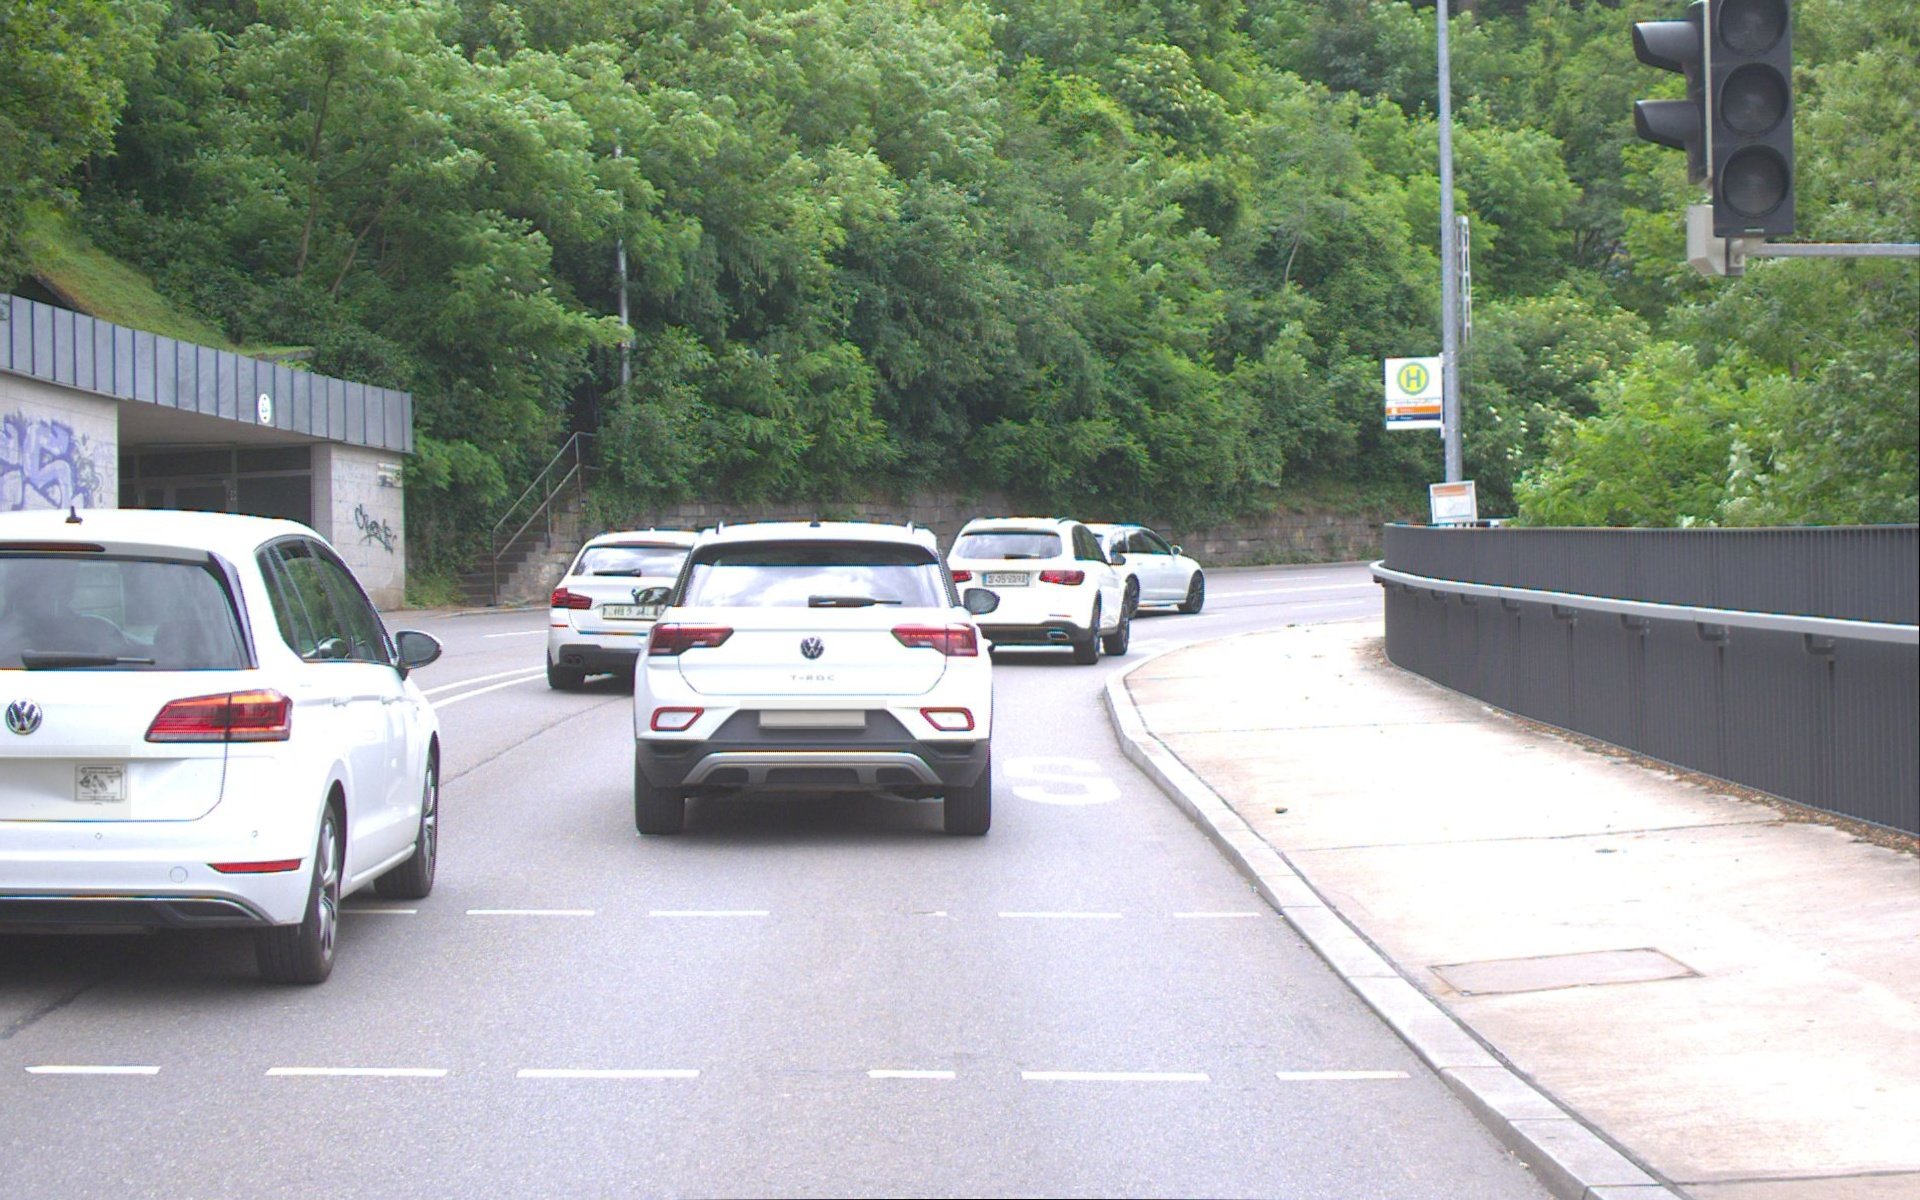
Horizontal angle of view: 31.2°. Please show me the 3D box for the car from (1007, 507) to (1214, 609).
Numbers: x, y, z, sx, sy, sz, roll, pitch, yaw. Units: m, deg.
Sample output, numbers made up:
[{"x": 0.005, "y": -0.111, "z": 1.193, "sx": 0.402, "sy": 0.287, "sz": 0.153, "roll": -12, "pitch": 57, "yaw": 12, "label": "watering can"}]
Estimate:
[{"x": 2.432, "y": -0.646, "z": 54.484, "sx": 1.743, "sy": 1.514, "sz": 4.303, "roll": 2, "pitch": 1, "yaw": 25, "label": "car"}]

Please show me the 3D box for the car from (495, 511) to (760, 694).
[{"x": -3.031, "y": -0.029, "z": 32.254, "sx": 1.993, "sy": 1.552, "sz": 4.681, "roll": 1, "pitch": 1, "yaw": 0, "label": "car"}]

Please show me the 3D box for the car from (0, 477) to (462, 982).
[{"x": -2.961, "y": 0.354, "z": 12.710, "sx": 1.720, "sy": 1.549, "sz": 4.276, "roll": 0, "pitch": 1, "yaw": -1, "label": "car"}]

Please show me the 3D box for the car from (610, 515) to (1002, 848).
[{"x": -0.743, "y": 0.369, "z": 18.195, "sx": 1.813, "sy": 1.534, "sz": 4.008, "roll": -1, "pitch": 0, "yaw": -1, "label": "car"}]

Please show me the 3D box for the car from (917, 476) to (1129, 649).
[{"x": 0.790, "y": -0.432, "z": 39.733, "sx": 1.994, "sy": 1.837, "sz": 4.149, "roll": 2, "pitch": 1, "yaw": 7, "label": "car"}]
